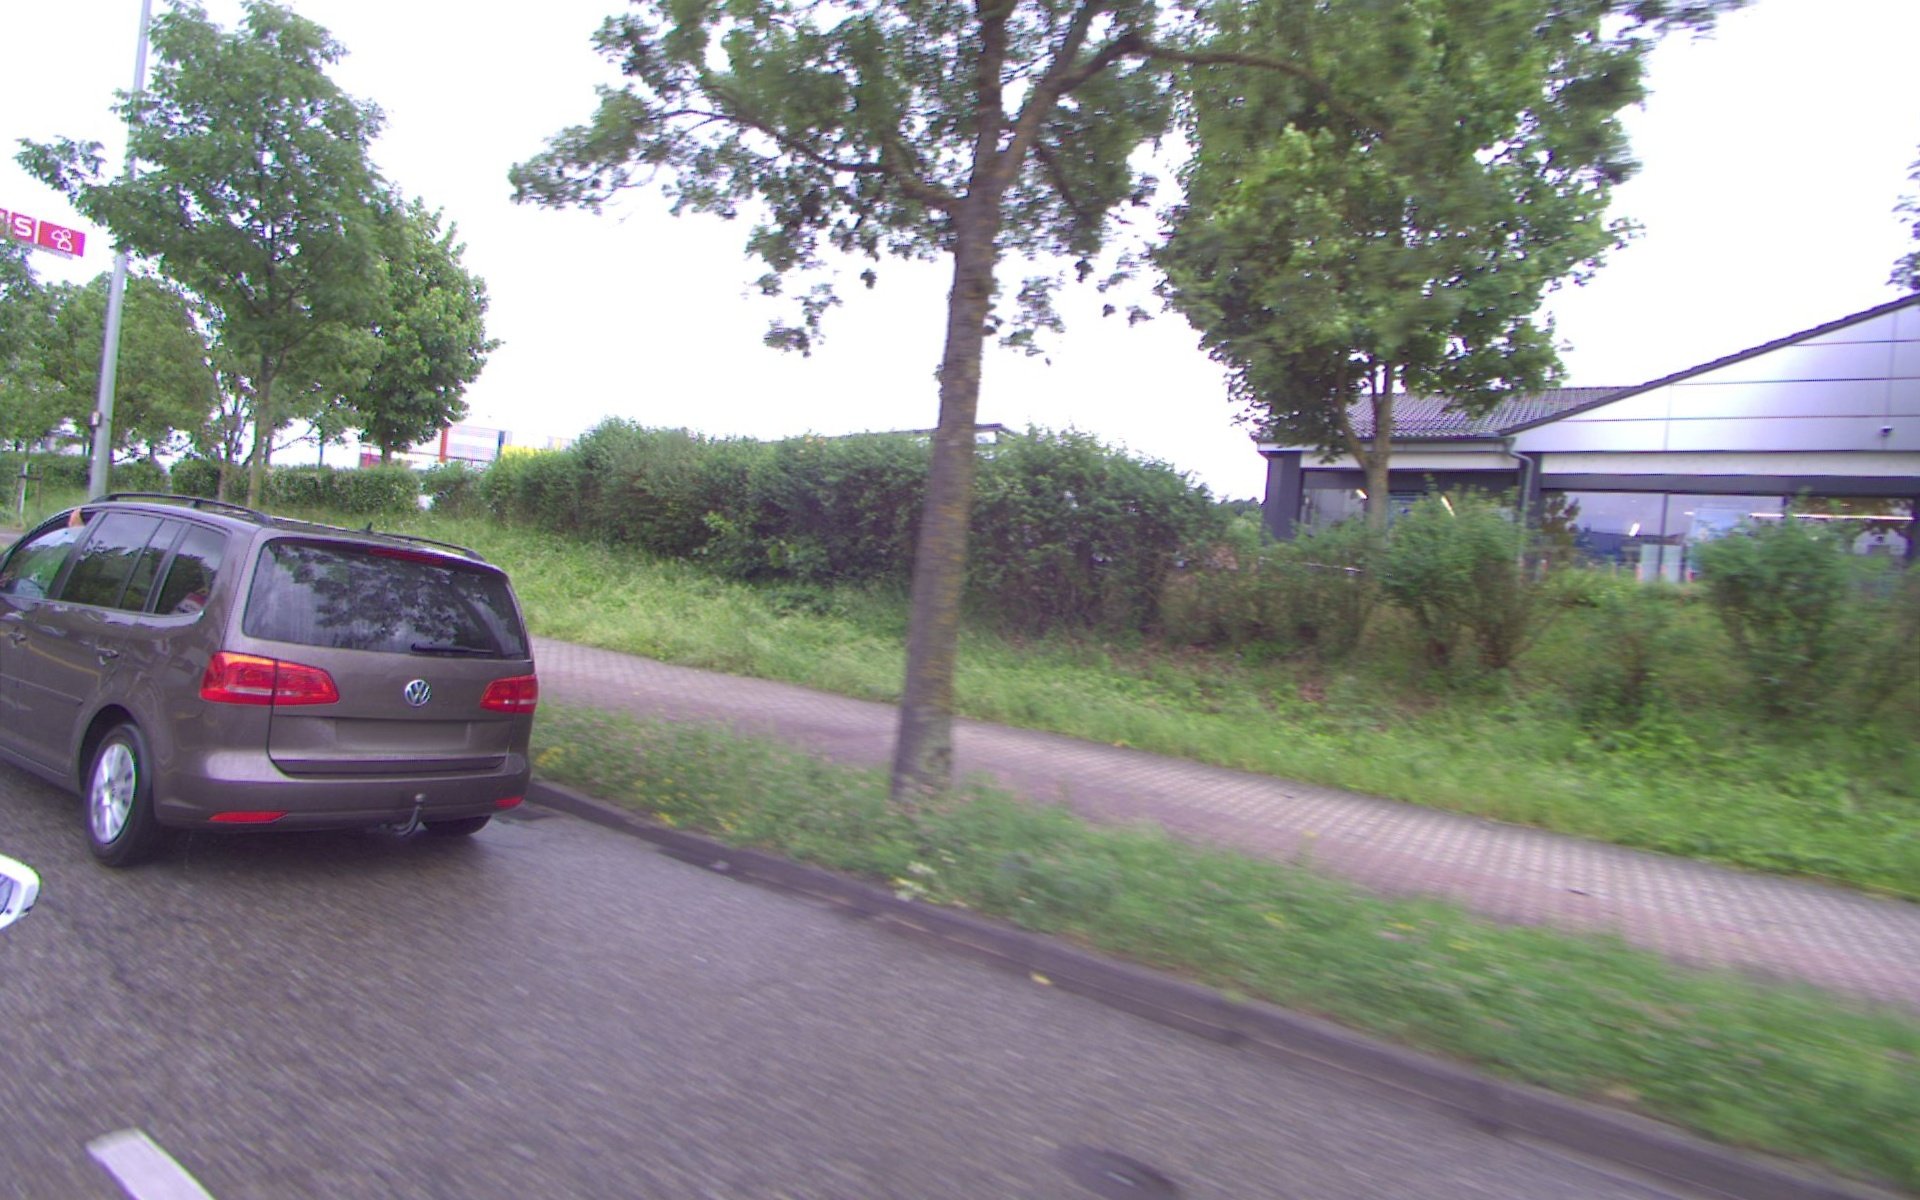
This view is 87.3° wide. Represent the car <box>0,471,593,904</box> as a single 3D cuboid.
[{"bbox_3d":[-4.235,0.272,5.674,4.148,1.598,1.690,7,-3,31],"label":"car"}]

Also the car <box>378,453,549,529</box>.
[{"bbox_3d":[-18.709,-4.073,38.210,2.085,2.171,5.613,6,2,27],"label":"car"}]
